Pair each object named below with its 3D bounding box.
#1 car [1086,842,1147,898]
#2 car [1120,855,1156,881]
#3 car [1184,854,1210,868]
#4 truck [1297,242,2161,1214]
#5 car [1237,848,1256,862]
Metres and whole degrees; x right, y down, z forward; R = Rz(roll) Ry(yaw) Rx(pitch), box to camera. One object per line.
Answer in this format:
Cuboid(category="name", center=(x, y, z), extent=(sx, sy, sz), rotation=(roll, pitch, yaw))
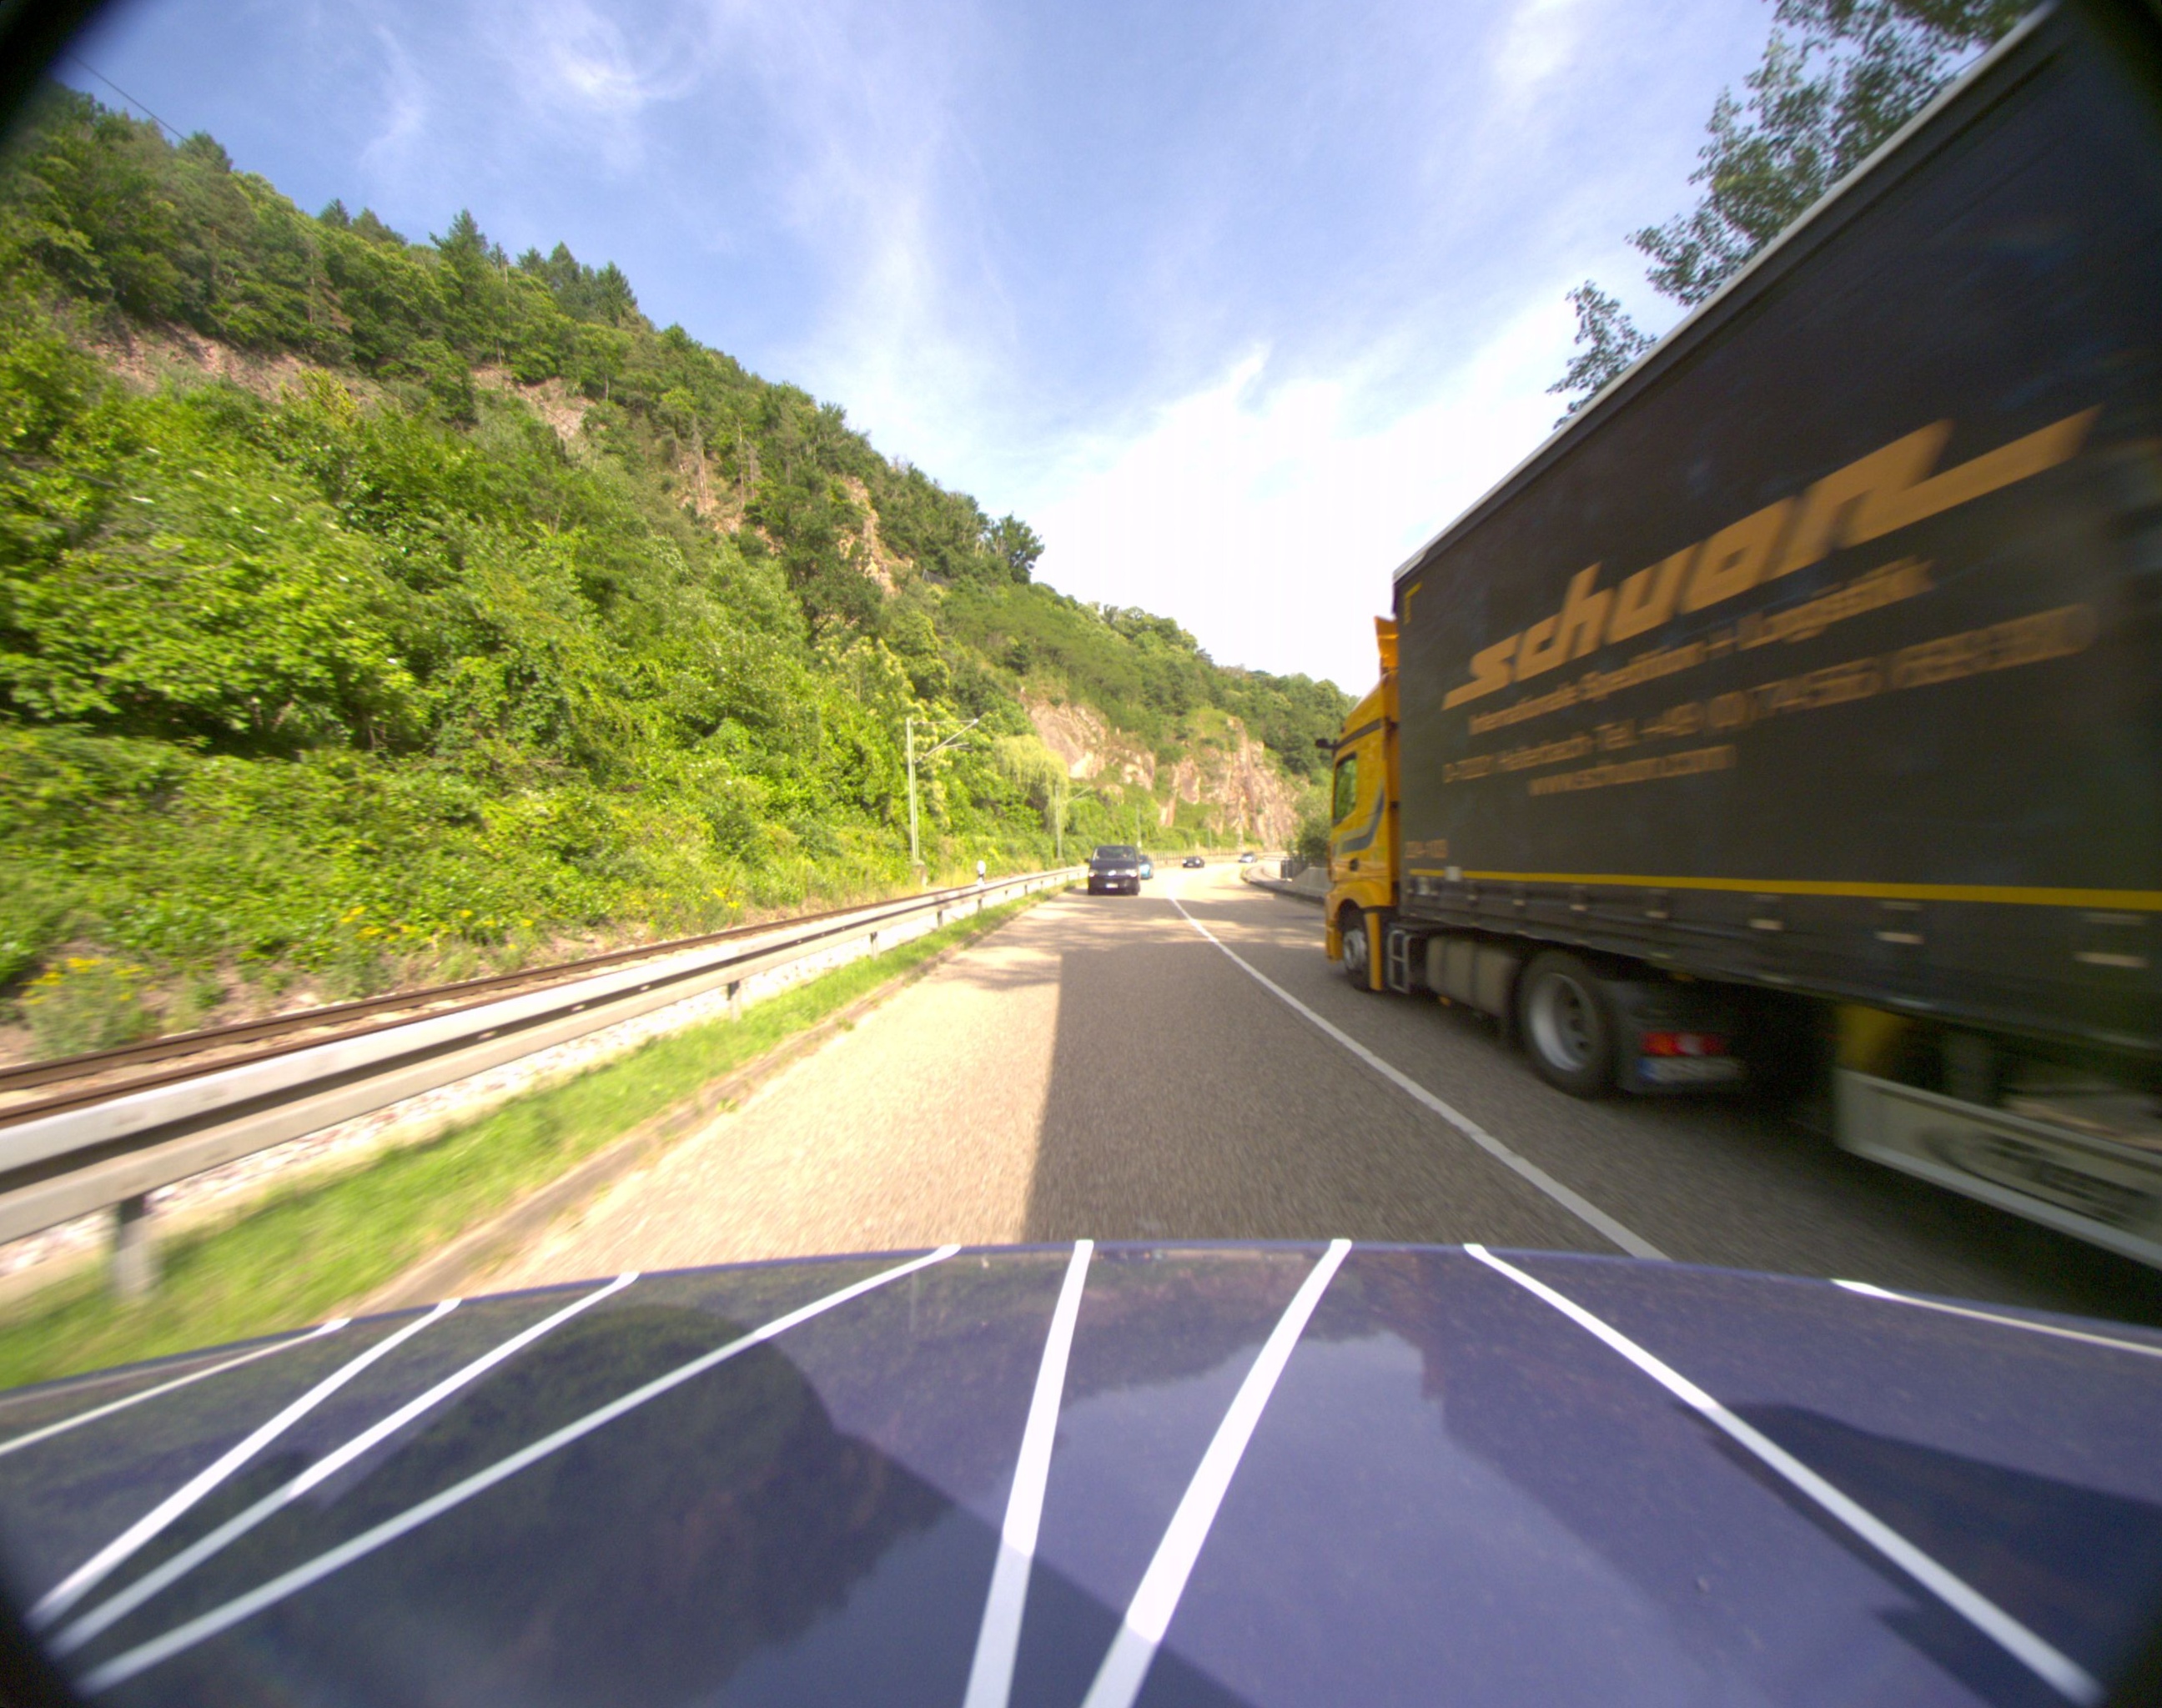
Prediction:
Cuboid(category="car", center=(1.462, 0.626, 29.559), extent=(1.997, 2.001, 4.003), rotation=(-2, -1, 7))
Cuboid(category="car", center=(3.571, 0.827, 46.988), extent=(1.997, 1.486, 4.222), rotation=(0, 0, 7))
Cuboid(category="car", center=(12.309, 0.724, 80.505), extent=(1.996, 1.486, 4.226), rotation=(0, 0, 19))
Cuboid(category="truck", center=(4.060, -0.516, 6.357), extent=(2.748, 4.005, 6.412), rotation=(-1, 0, 1))
Cuboid(category="car", center=(24.386, 0.095, 111.745), extent=(1.995, 2.002, 4.006), rotation=(-1, 0, 23))
